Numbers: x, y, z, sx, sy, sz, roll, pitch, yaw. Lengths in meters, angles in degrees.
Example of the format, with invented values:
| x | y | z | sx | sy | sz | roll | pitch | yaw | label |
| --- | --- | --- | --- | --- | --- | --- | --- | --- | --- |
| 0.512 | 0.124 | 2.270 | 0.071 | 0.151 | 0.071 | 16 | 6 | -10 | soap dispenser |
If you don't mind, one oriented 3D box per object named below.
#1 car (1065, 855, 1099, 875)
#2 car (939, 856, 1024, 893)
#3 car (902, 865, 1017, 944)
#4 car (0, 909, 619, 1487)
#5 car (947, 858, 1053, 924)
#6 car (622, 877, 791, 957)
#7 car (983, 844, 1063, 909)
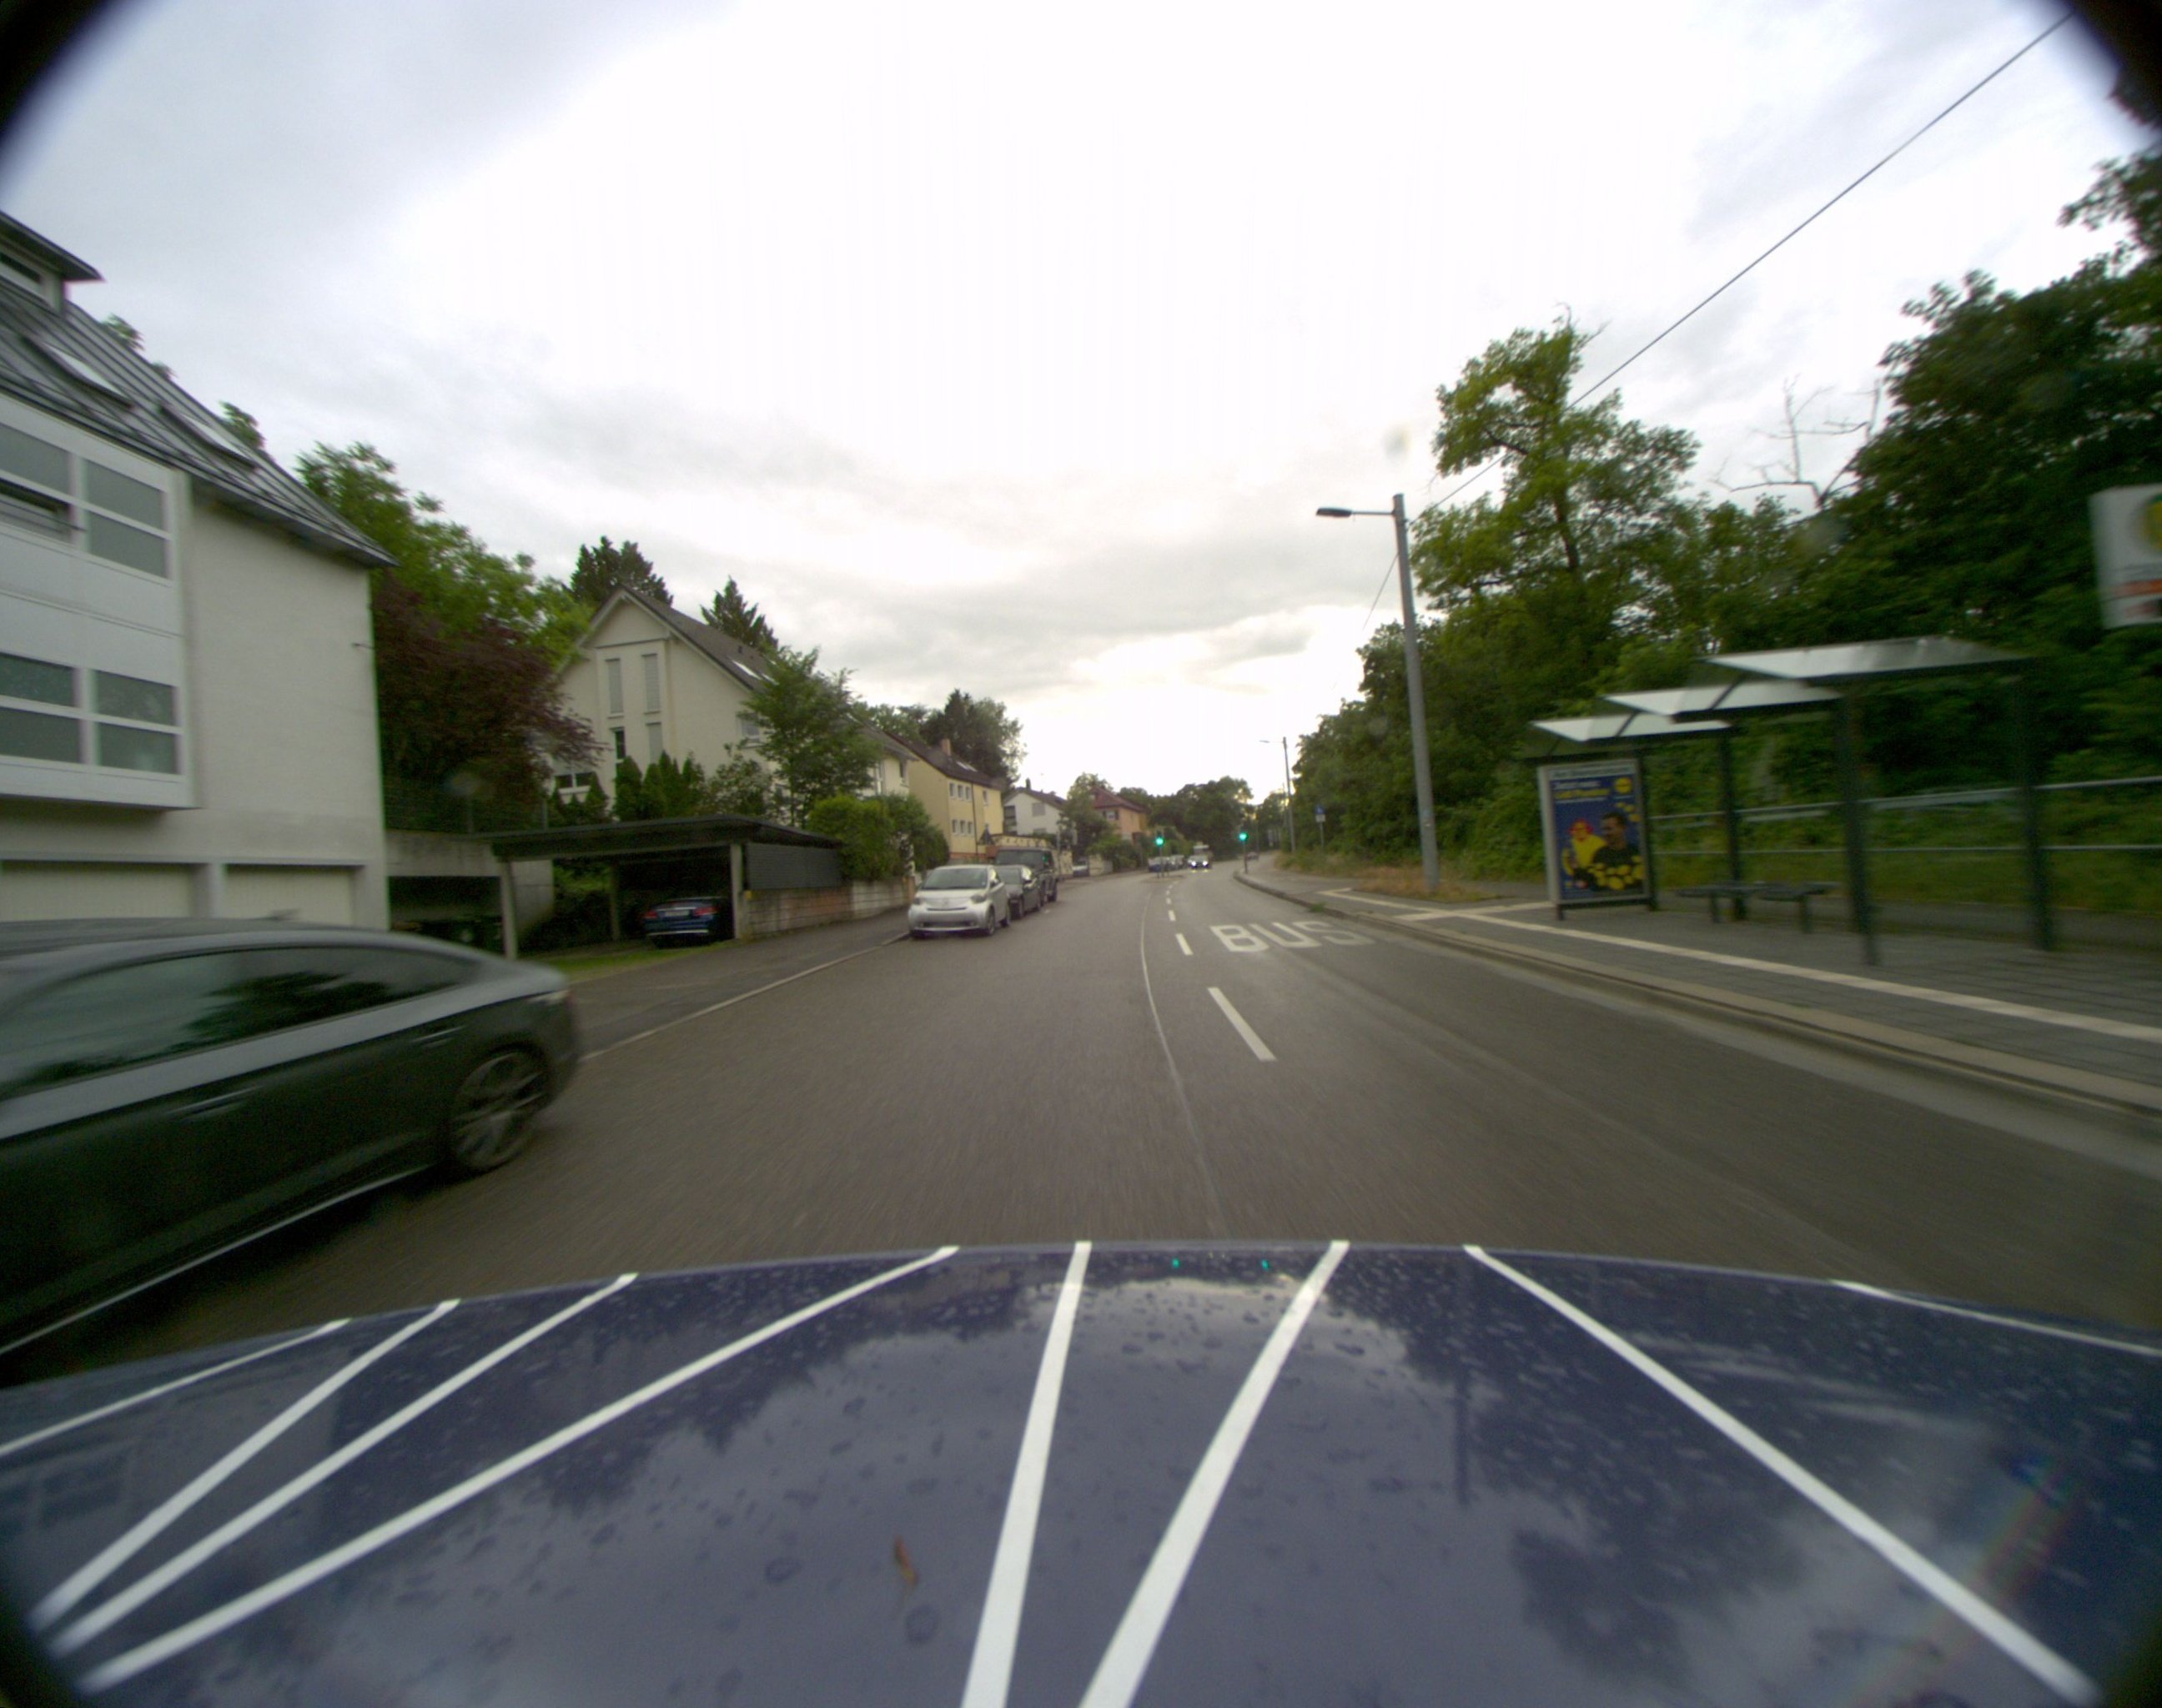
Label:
| x | y | z | sx | sy | sz | roll | pitch | yaw | label |
| --- | --- | --- | --- | --- | --- | --- | --- | --- | --- |
| 0.118 | 1.017 | 70.903 | 1.935 | 1.586 | 4.346 | -4 | 0 | 16 | car |
| -5.705 | 1.170 | 43.908 | 4.336 | 1.586 | 1.993 | -6 | 0 | 8 | car |
| -2.550 | 1.029 | 16.720 | 1.676 | 1.449 | 3.387 | -2 | 0 | 5 | car |
| -4.033 | 1.118 | 2.542 | 1.937 | 1.414 | 4.837 | -3 | 0 | 0 | car |
| -2.120 | 0.945 | 21.255 | 1.935 | 1.587 | 4.396 | -1 | 1 | 7 | car |
| -8.551 | 1.372 | 17.793 | 1.739 | 1.388 | 4.001 | -5 | 0 | 2 | car |
| -1.881 | 0.690 | 26.326 | 1.998 | 2.002 | 4.958 | -1 | 0 | 4 | car |
